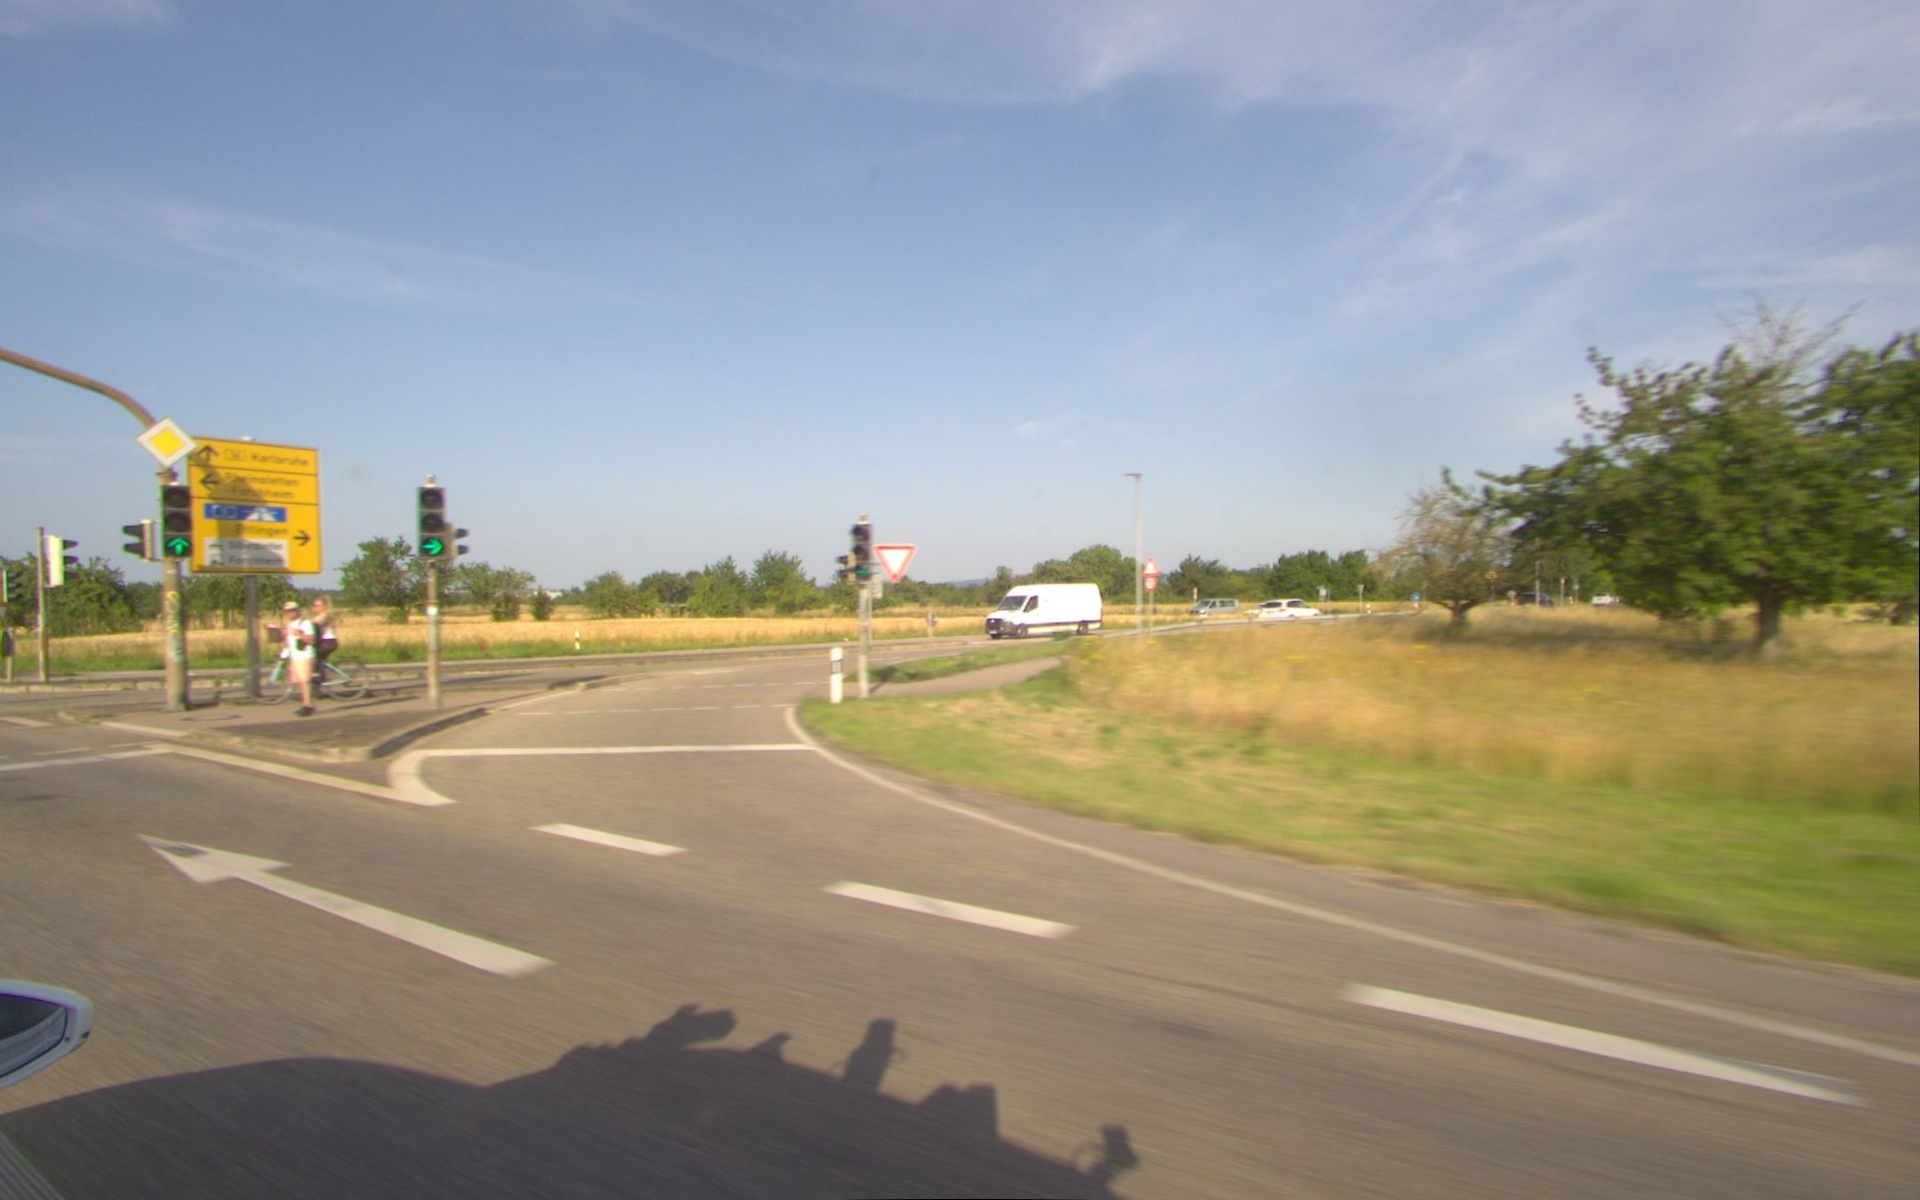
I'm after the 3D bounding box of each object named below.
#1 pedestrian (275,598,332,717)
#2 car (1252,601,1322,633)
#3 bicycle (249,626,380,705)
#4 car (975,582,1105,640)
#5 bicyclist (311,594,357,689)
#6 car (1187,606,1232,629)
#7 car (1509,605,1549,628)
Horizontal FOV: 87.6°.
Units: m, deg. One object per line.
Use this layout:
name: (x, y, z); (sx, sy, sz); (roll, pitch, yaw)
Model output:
pedestrian: (-10.073, 0.878, 15.357); (0.592, 1.774, 0.618); (-1, -2, 45)
car: (17.902, 0.958, 54.715); (3.953, 1.683, 1.721); (1, -2, -38)
bicycle: (-11.143, 1.107, 17.340); (0.522, 1.306, 1.847); (-1, -2, 37)
car: (4.077, 0.545, 49.675); (7.139, 2.704, 2.074); (0, -1, -42)
bicyclist: (-10.982, 0.726, 17.560); (0.498, 1.633, 0.556); (-1, -1, 41)
car: (22.361, 1.575, 89.712); (3.948, 1.972, 1.835); (1, -2, -34)
car: (45.928, 1.342, 80.785); (3.727, 1.739, 1.747); (2, -2, -43)
